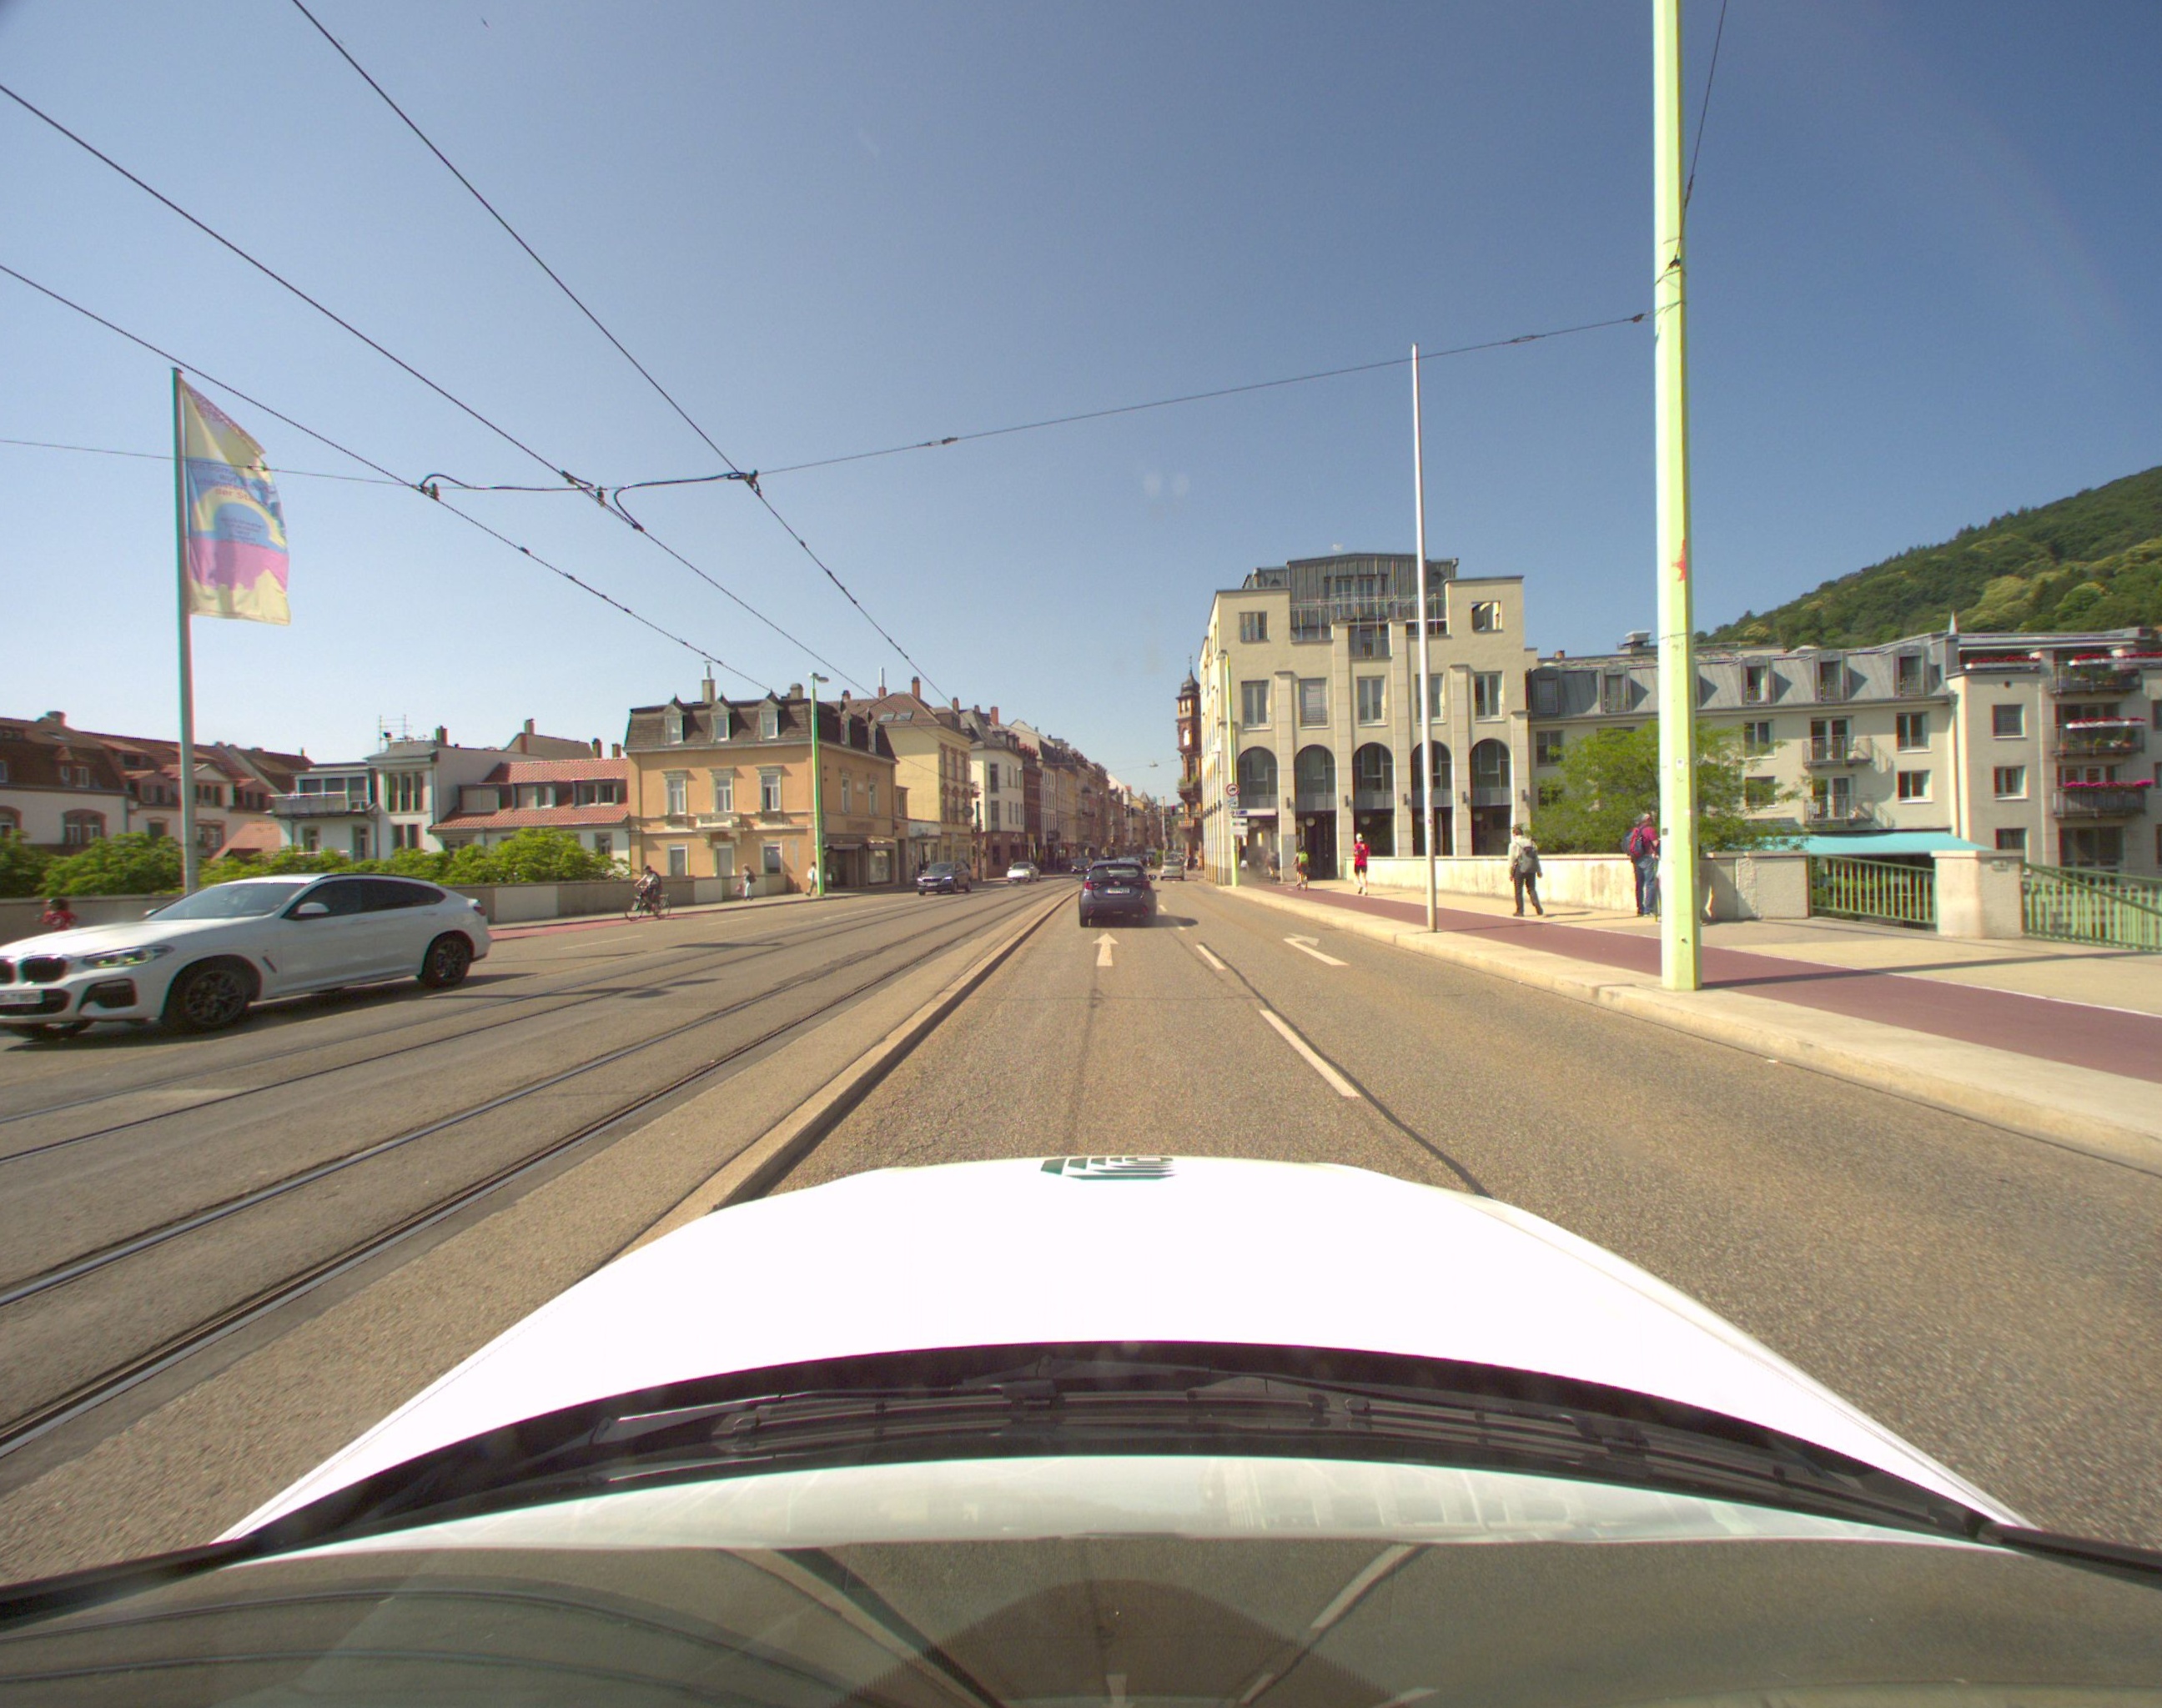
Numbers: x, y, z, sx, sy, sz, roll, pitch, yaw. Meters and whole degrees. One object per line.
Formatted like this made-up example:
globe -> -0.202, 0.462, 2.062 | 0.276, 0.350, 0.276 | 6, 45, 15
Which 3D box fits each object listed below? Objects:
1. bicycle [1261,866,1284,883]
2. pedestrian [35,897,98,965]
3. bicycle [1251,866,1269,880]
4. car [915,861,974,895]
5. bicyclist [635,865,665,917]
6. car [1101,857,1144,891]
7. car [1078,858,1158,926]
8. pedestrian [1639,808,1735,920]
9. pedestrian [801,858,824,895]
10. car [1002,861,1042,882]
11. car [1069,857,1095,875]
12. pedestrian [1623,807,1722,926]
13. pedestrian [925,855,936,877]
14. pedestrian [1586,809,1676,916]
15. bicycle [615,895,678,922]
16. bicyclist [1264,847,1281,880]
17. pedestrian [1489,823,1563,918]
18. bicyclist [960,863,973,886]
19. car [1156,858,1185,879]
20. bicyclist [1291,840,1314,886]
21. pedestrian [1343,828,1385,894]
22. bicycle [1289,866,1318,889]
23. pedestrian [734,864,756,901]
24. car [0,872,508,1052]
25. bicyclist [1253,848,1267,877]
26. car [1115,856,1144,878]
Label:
bicycle -> 9.067, 0.951, 38.596 | 0.592, 0.765, 1.830 | -3, 0, -1
pedestrian -> -18.199, 1.370, 14.616 | 0.409, 1.146, 0.547 | 2, -1, 17
bicycle -> 10.236, 1.064, 46.534 | 0.592, 0.765, 1.866 | -3, 0, 0
car -> -6.644, 1.151, 40.050 | 1.784, 1.545, 3.929 | -2, -1, 7
bicyclist -> -13.998, 1.204, 26.456 | 0.623, 1.650, 0.623 | 0, 0, 11
car -> 1.927, 0.910, 38.626 | 1.890, 1.530, 4.001 | 0, 0, 2
car -> 0.855, 0.829, 19.422 | 1.713, 1.473, 3.659 | 0, 0, 2
pedestrian -> 9.982, 0.166, 13.460 | 0.737, 1.746, 1.016 | -3, -1, 0
pedestrian -> -13.250, 1.120, 40.214 | 0.733, 1.766, 0.787 | 3, -1, 2
car -> -4.241, 1.248, 59.168 | 1.982, 1.432, 4.010 | -1, -1, 9
car -> 0.124, 1.204, 82.152 | 1.982, 1.773, 4.010 | -1, -1, 9
pedestrian -> 9.337, 0.196, 12.903 | 0.737, 1.777, 1.016 | -3, -1, 0
pedestrian -> -11.248, 0.925, 60.939 | 0.646, 1.602, 0.566 | 3, 2, 2
pedestrian -> 9.795, 0.146, 14.533 | 1.009, 1.802, 0.741 | -3, -1, 0
bicycle -> -14.024, 1.755, 26.347 | 0.616, 0.716, 2.051 | 0, 1, 11
bicyclist -> 9.049, 0.446, 38.545 | 0.585, 1.559, 0.702 | -3, -1, 0
pedestrian -> 8.505, 0.302, 15.606 | 0.752, 1.718, 1.073 | -3, -1, 1
bicyclist -> -8.087, 1.448, 57.588 | 0.701, 1.650, 0.623 | 0, 0, 11
car -> 6.437, 1.014, 58.821 | 1.699, 1.466, 4.327 | 0, 0, 2
bicyclist -> 8.138, 0.335, 29.964 | 0.602, 1.650, 0.702 | -3, -1, 2
pedestrian -> 8.693, 0.211, 25.056 | 0.808, 1.925, 1.128 | -3, -1, 1
bicycle -> 8.165, 0.867, 30.001 | 0.591, 0.765, 1.867 | -3, 0, 2
pedestrian -> -15.084, 1.260, 36.561 | 0.646, 1.602, 0.566 | 3, 2, 2
car -> -9.754, 1.074, 9.954 | 1.985, 1.586, 4.656 | -2, -1, 3
bicyclist -> 10.223, 0.496, 46.575 | 0.585, 1.650, 0.702 | -3, -1, 0
car -> 3.397, 0.911, 57.836 | 1.890, 1.530, 4.001 | 0, 0, 2
